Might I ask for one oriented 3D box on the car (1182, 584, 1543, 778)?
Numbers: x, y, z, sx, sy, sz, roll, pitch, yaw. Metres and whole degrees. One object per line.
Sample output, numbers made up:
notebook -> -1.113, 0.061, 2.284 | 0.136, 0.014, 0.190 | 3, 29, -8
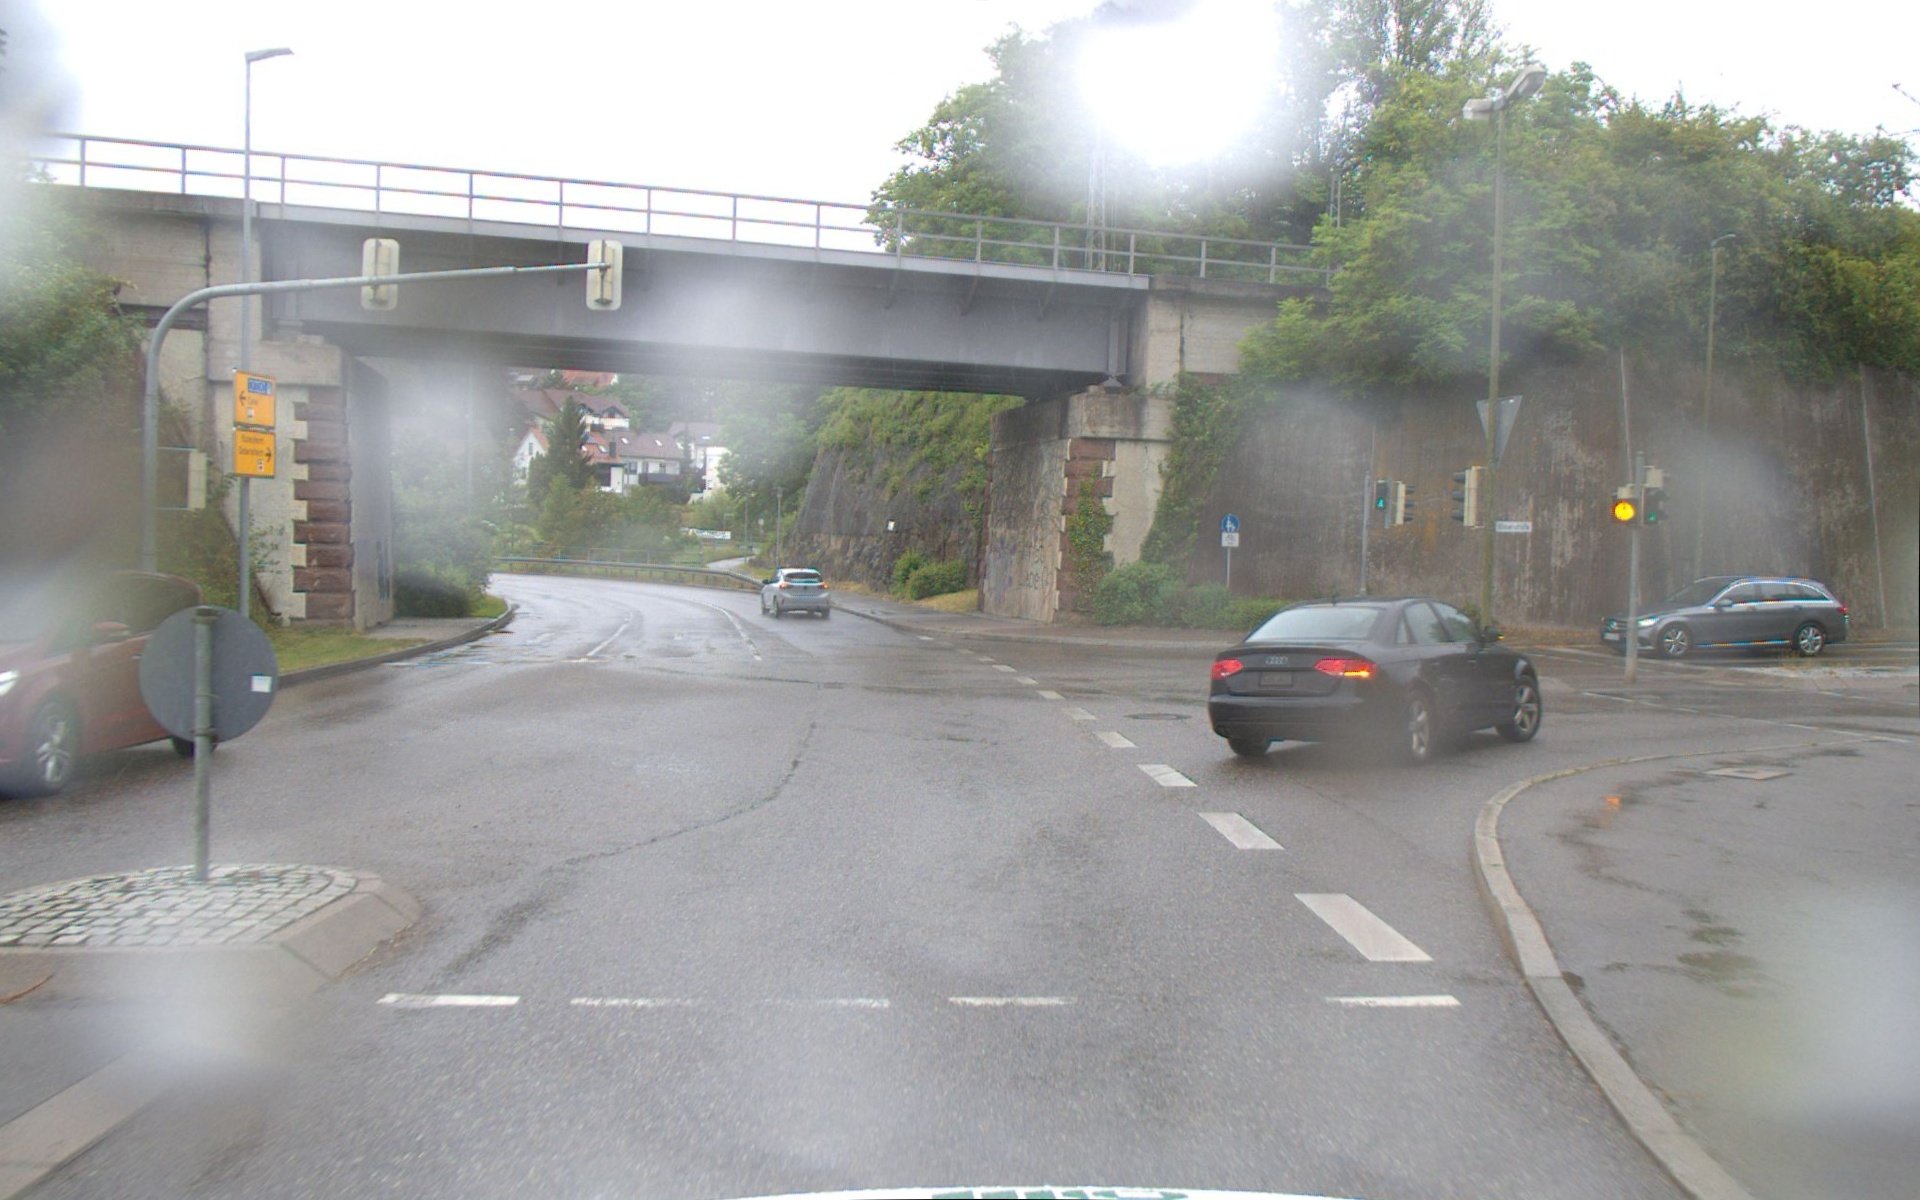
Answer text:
car -> 3.848, 0.624, 15.265 | 1.860, 1.518, 4.193 | 0, 0, 35

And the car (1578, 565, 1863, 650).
car -> 14.401, 0.127, 31.445 | 4.627, 1.529, 1.996 | 0, 0, -10

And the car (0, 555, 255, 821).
car -> -7.350, 0.572, 12.958 | 1.859, 1.744, 4.679 | 0, 0, -3

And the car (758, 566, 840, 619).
car -> -5.070, -0.239, 51.628 | 1.960, 1.590, 3.984 | 0, 0, -15
